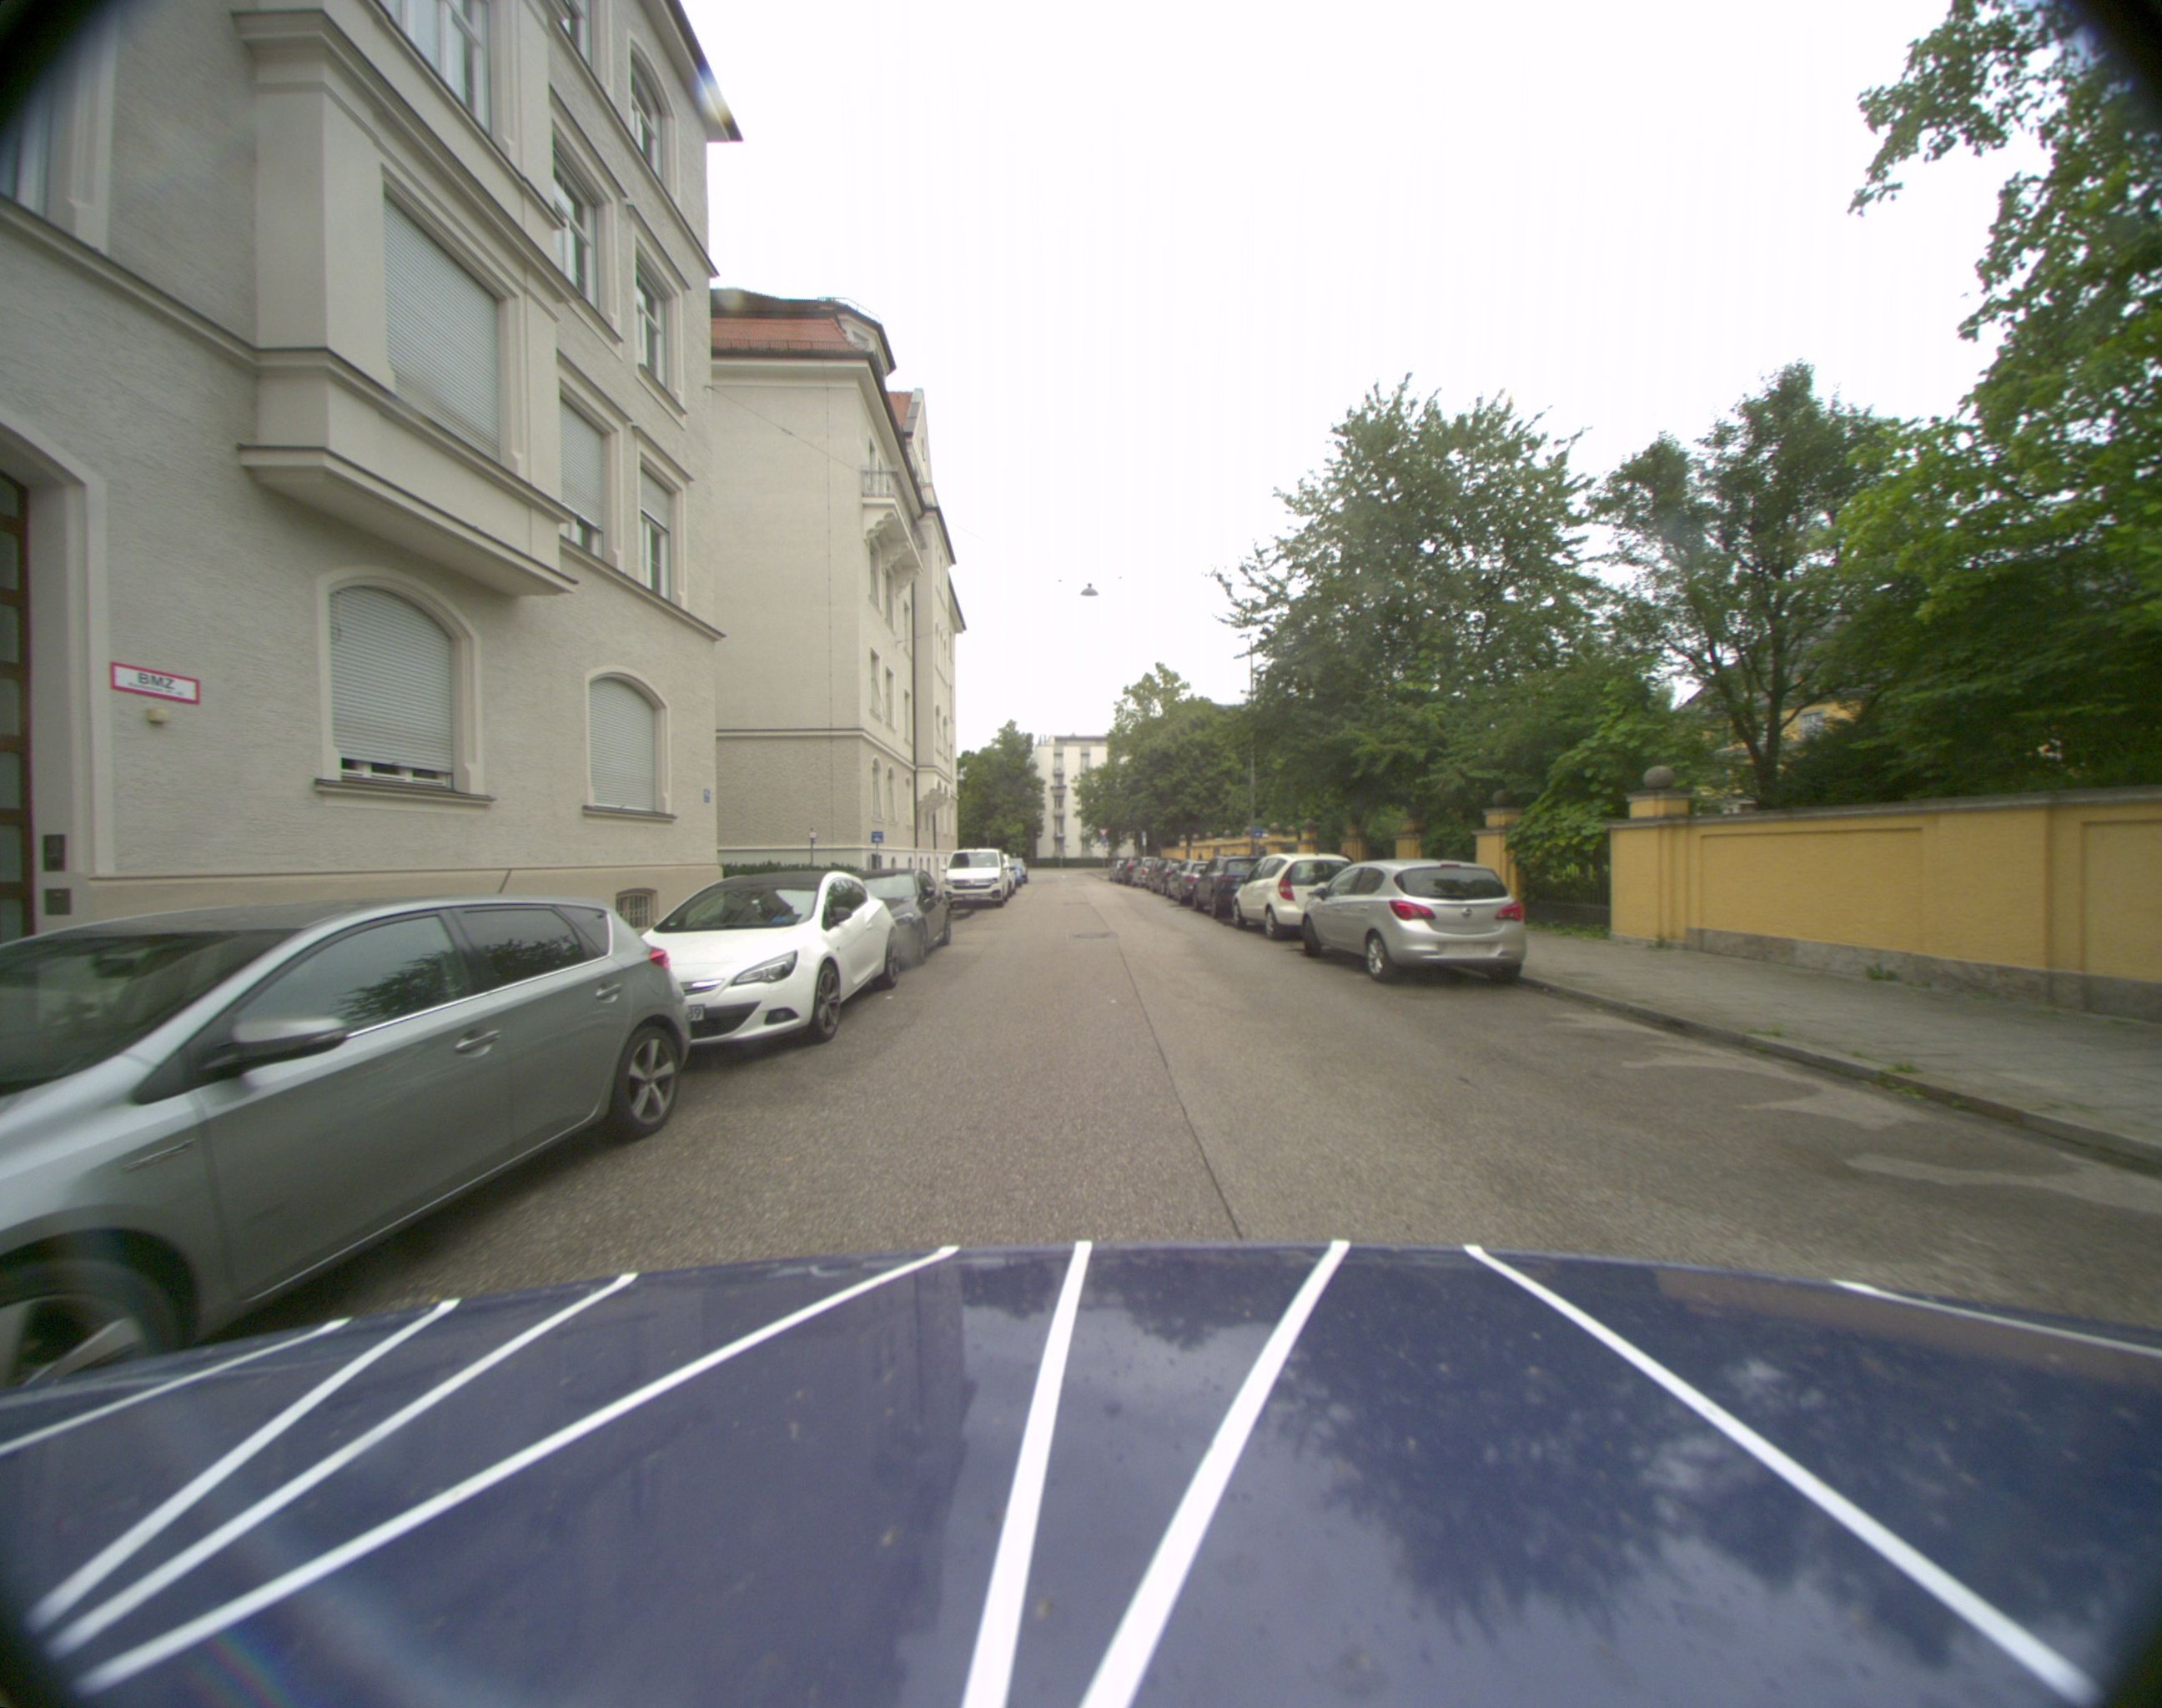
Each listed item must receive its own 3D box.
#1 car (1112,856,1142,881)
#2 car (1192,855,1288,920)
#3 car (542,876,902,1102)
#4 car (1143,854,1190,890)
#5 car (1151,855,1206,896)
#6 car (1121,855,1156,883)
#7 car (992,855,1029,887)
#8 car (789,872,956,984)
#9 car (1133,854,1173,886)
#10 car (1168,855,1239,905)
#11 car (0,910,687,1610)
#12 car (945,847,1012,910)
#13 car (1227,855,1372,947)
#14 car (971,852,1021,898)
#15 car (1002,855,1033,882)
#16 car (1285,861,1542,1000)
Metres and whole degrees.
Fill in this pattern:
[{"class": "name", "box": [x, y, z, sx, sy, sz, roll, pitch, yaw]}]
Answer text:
[{"class": "car", "box": [2.987, 0.932, 49.777, 1.653, 1.552, 3.929, 0, 0, -1]}, {"class": "car", "box": [4.101, 0.809, 20.164, 1.653, 1.552, 3.929, 0, 0, -1]}, {"class": "car", "box": [-3.091, 1.042, 7.581, 1.715, 1.462, 4.084, -2, 0, -2]}, {"class": "car", "box": [3.933, 0.793, 35.353, 1.653, 1.552, 3.929, 0, 0, -1]}, {"class": "car", "box": [3.939, 0.832, 31.124, 1.653, 1.552, 3.929, 0, 0, -1]}, {"class": "car", "box": [3.273, 0.831, 43.955, 1.653, 1.552, 3.929, 0, 0, -1]}, {"class": "car", "box": [-3.949, 0.916, 43.113, 1.794, 1.638, 4.084, -2, 0, -2]}, {"class": "car", "box": [-3.221, 1.072, 12.567, 1.715, 1.382, 4.084, -2, 0, -2]}, {"class": "car", "box": [3.716, 0.803, 39.691, 1.653, 1.552, 3.929, 0, 0, -1]}, {"class": "car", "box": [4.037, 0.807, 25.594, 1.653, 1.552, 3.929, 0, 0, -1]}, {"class": "car", "box": [-3.347, 1.071, 2.703, 1.715, 1.382, 4.000, -2, 0, 1]}, {"class": "car", "box": [-3.406, 0.769, 25.843, 1.794, 1.926, 4.084, -2, 0, -2]}, {"class": "car", "box": [4.212, 0.827, 15.269, 1.705, 1.552, 3.929, -1, 0, -1]}, {"class": "car", "box": [-3.567, 0.842, 32.605, 1.794, 1.776, 4.084, -2, 0, -2]}, {"class": "car", "box": [-4.144, 0.916, 49.881, 1.794, 1.638, 4.084, -2, 0, -2]}, {"class": "car", "box": [4.206, 0.868, 10.378, 1.705, 1.483, 3.955, 0, 0, -1]}]
